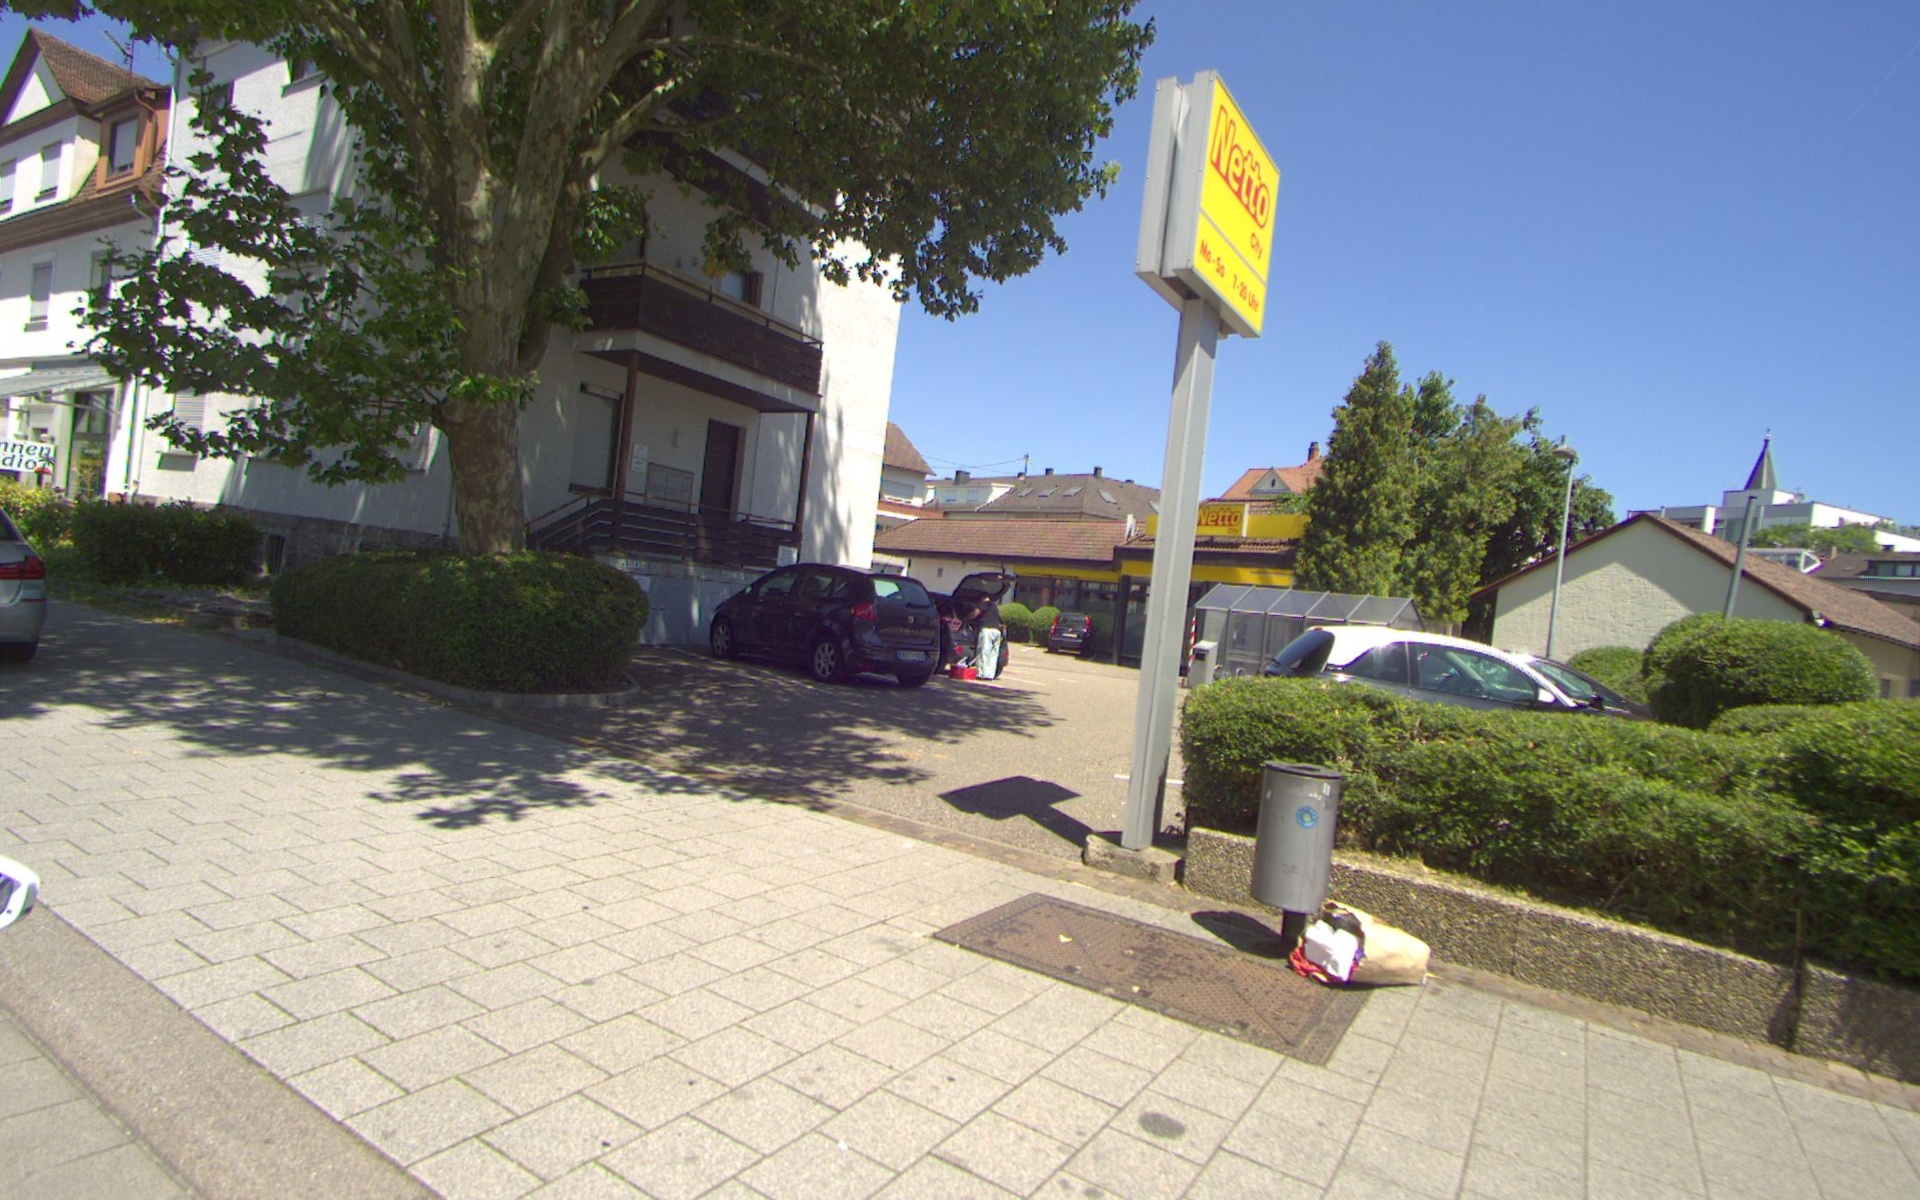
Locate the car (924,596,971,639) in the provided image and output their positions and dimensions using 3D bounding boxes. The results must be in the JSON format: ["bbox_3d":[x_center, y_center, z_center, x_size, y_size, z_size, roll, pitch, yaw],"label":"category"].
[{"bbox_3d":[-0.563,0.713,42.102,1.610,1.527,3.721,6,0,-5],"label":"car"}]

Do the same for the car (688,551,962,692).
[{"bbox_3d":[-2.061,0.256,14.561,4.044,1.562,1.680,6,1,44],"label":"car"}]

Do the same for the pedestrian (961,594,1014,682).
[{"bbox_3d":[0.485,0.673,17.812,0.508,1.487,0.602,7,1,43],"label":"pedestrian"}]

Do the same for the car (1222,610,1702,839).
[{"bbox_3d":[4.380,1.037,9.222,3.398,1.518,1.737,6,1,1],"label":"car"}]

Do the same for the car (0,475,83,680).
[{"bbox_3d":[-9.382,-0.402,8.359,4.681,1.531,1.830,6,2,32],"label":"car"}]

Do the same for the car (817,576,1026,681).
[{"bbox_3d":[-0.806,0.520,19.387,3.706,1.556,1.832,7,0,43],"label":"car"}]

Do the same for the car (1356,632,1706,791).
[{"bbox_3d":[7.355,1.397,13.348,3.561,1.518,1.739,6,-1,14],"label":"car"}]

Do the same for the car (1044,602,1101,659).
[{"bbox_3d":[4.175,1.104,36.890,1.556,1.799,3.636,6,0,12],"label":"car"}]
